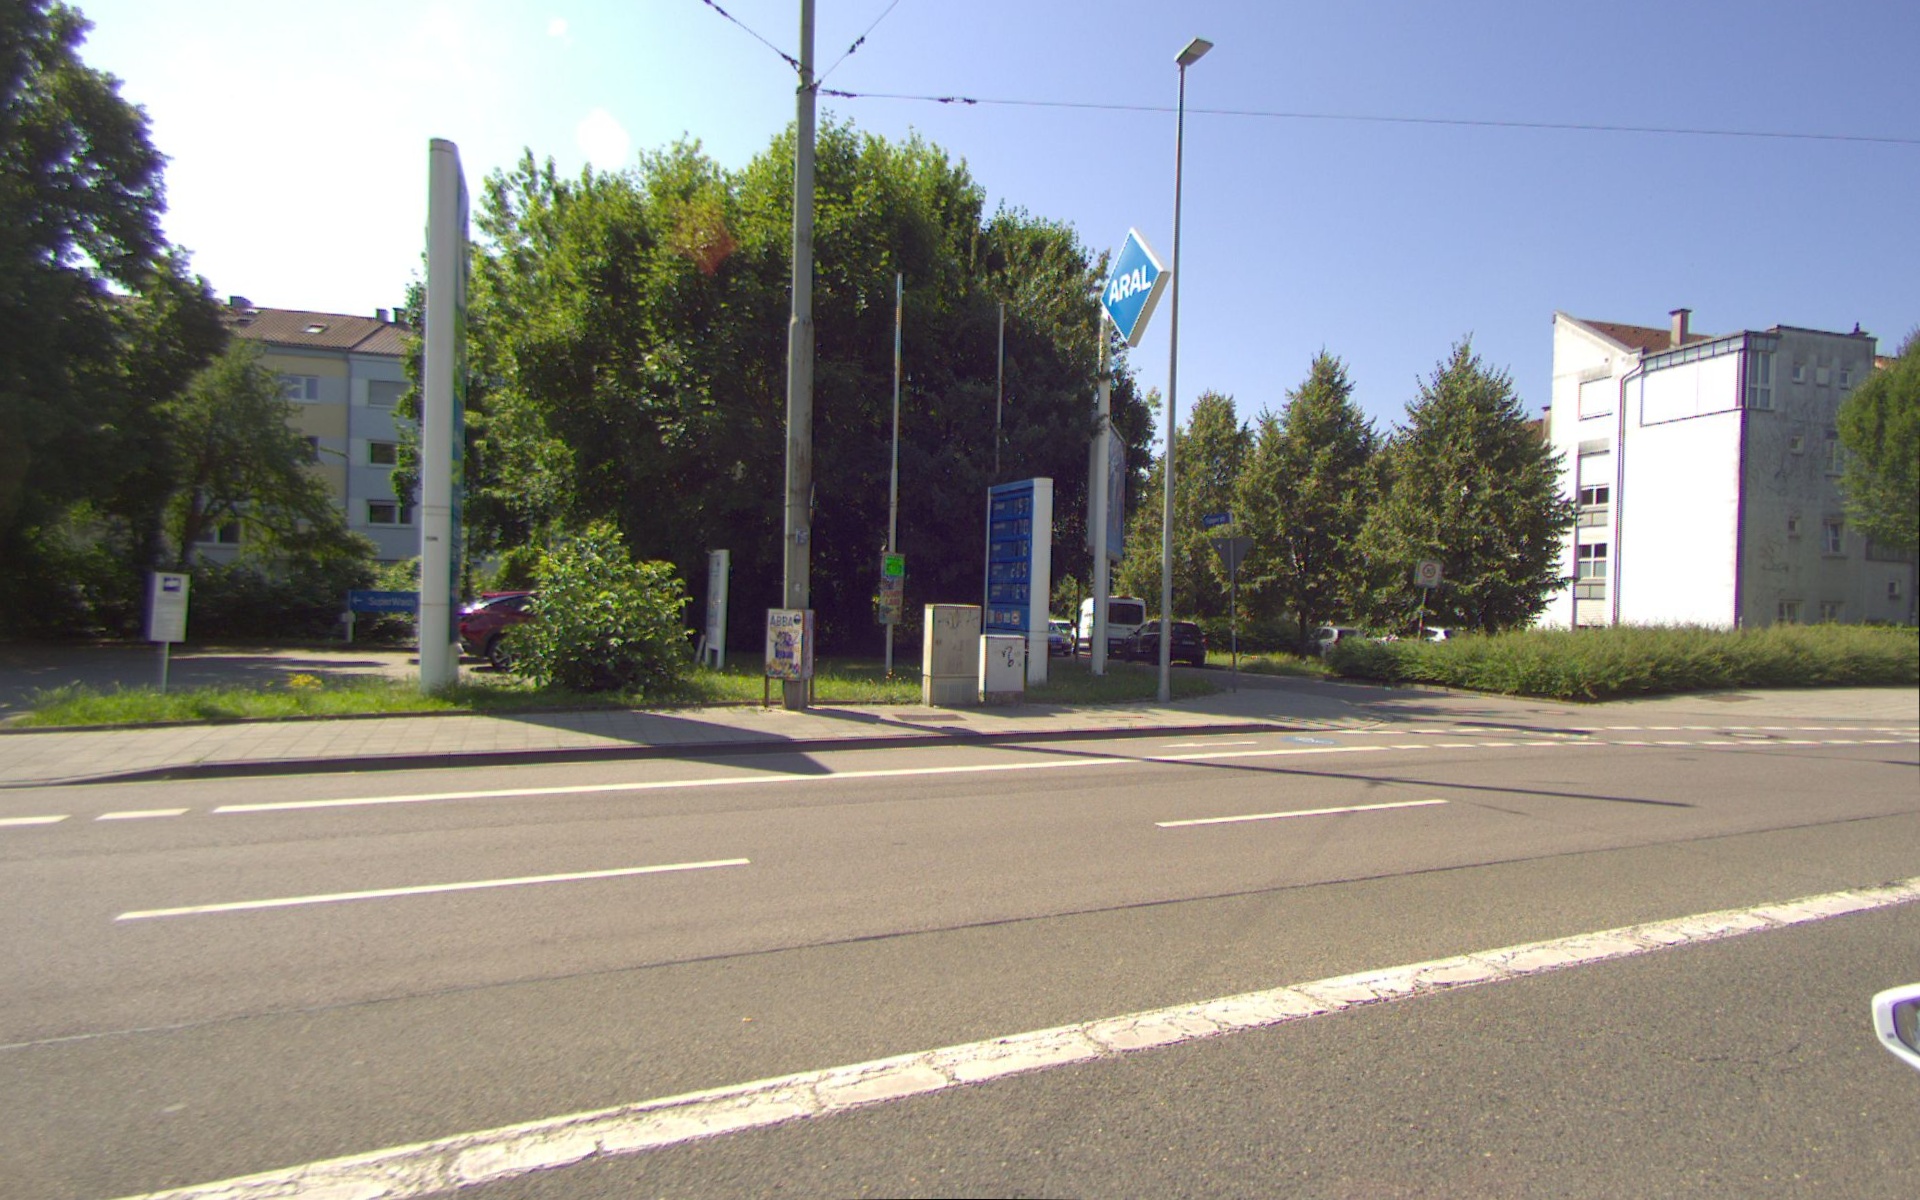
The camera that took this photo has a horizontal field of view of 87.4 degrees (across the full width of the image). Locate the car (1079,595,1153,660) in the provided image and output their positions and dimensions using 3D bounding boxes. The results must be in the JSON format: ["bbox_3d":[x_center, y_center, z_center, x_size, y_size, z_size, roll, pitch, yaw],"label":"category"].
[{"bbox_3d":[6.536,1.108,42.494,1.756,2.572,4.178,1,0,-11],"label":"car"}]

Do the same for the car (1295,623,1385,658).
[{"bbox_3d":[15.065,1.577,40.014,1.548,1.221,3.653,1,0,-13],"label":"car"}]

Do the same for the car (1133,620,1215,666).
[{"bbox_3d":[7.705,1.538,36.473,1.631,1.503,3.603,1,0,-11],"label":"car"}]

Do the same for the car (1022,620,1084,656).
[{"bbox_3d":[4.030,1.638,44.127,1.604,1.379,3.990,1,0,-12],"label":"car"}]

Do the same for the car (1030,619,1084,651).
[{"bbox_3d":[4.900,1.738,51.088,1.786,1.462,3.655,1,0,-11],"label":"car"}]

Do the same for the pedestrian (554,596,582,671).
[{"bbox_3d":[-8.058,0.682,20.647,0.493,1.501,0.497,1,0,-24],"label":"pedestrian"}]

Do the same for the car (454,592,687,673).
[{"bbox_3d":[-8.244,0.626,21.402,4.456,1.591,1.794,0,1,-25],"label":"car"}]

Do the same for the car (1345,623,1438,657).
[{"bbox_3d":[17.297,1.572,40.443,1.548,1.221,3.653,1,0,-13],"label":"car"}]
